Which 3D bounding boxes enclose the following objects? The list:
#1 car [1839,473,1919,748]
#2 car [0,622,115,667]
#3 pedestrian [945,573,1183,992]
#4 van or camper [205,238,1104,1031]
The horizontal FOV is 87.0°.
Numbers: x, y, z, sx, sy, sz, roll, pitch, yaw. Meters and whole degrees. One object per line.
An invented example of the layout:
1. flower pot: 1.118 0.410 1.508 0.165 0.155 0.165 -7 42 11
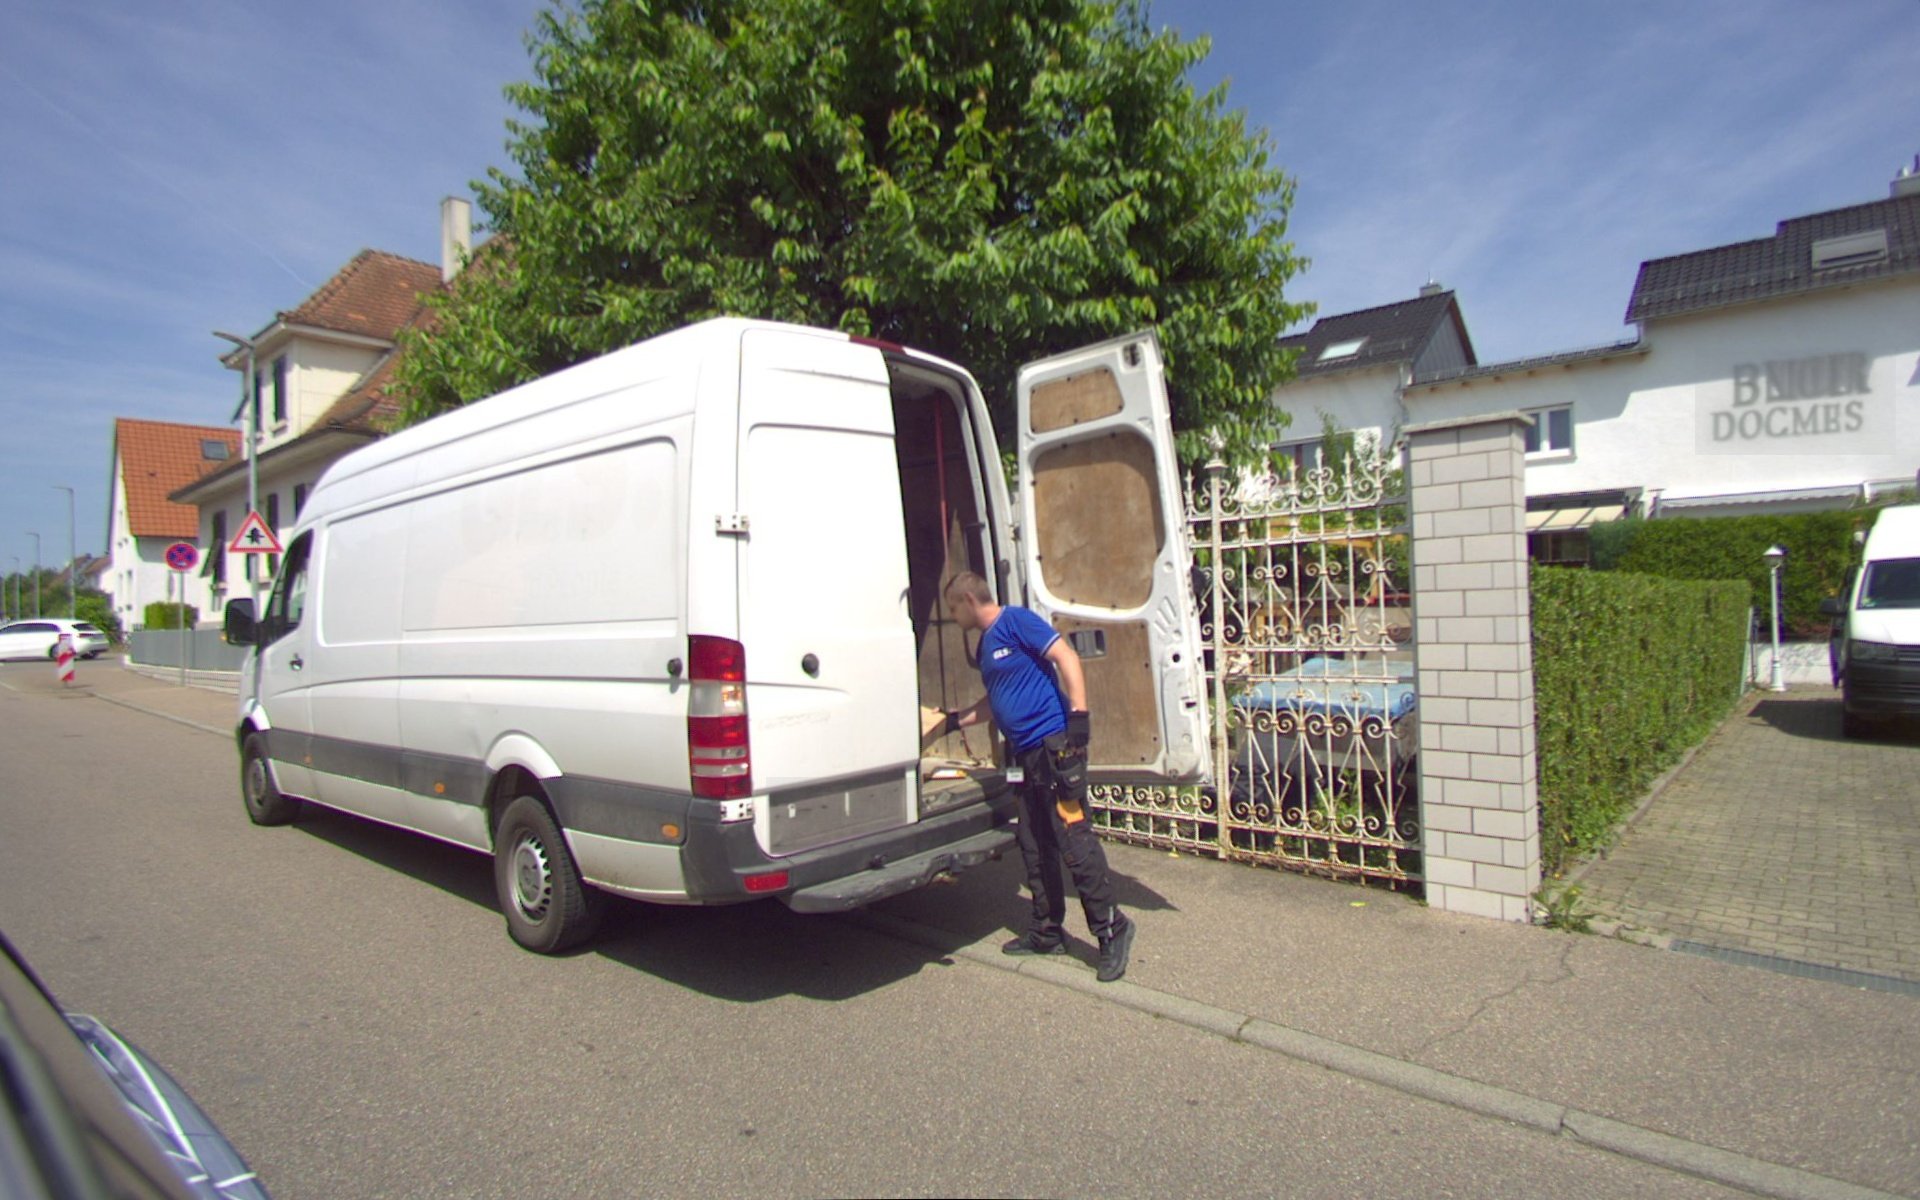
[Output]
1. car: 10.700 0.083 10.719 1.964 2.511 4.754 -1 -1 40
2. car: -31.939 1.519 34.484 4.418 1.408 1.935 -1 0 -17
3. pedestrian: 0.429 0.672 4.161 0.725 1.529 0.567 -1 2 40
4. van or camper: -2.576 0.158 6.391 6.805 2.591 2.161 -2 0 42
